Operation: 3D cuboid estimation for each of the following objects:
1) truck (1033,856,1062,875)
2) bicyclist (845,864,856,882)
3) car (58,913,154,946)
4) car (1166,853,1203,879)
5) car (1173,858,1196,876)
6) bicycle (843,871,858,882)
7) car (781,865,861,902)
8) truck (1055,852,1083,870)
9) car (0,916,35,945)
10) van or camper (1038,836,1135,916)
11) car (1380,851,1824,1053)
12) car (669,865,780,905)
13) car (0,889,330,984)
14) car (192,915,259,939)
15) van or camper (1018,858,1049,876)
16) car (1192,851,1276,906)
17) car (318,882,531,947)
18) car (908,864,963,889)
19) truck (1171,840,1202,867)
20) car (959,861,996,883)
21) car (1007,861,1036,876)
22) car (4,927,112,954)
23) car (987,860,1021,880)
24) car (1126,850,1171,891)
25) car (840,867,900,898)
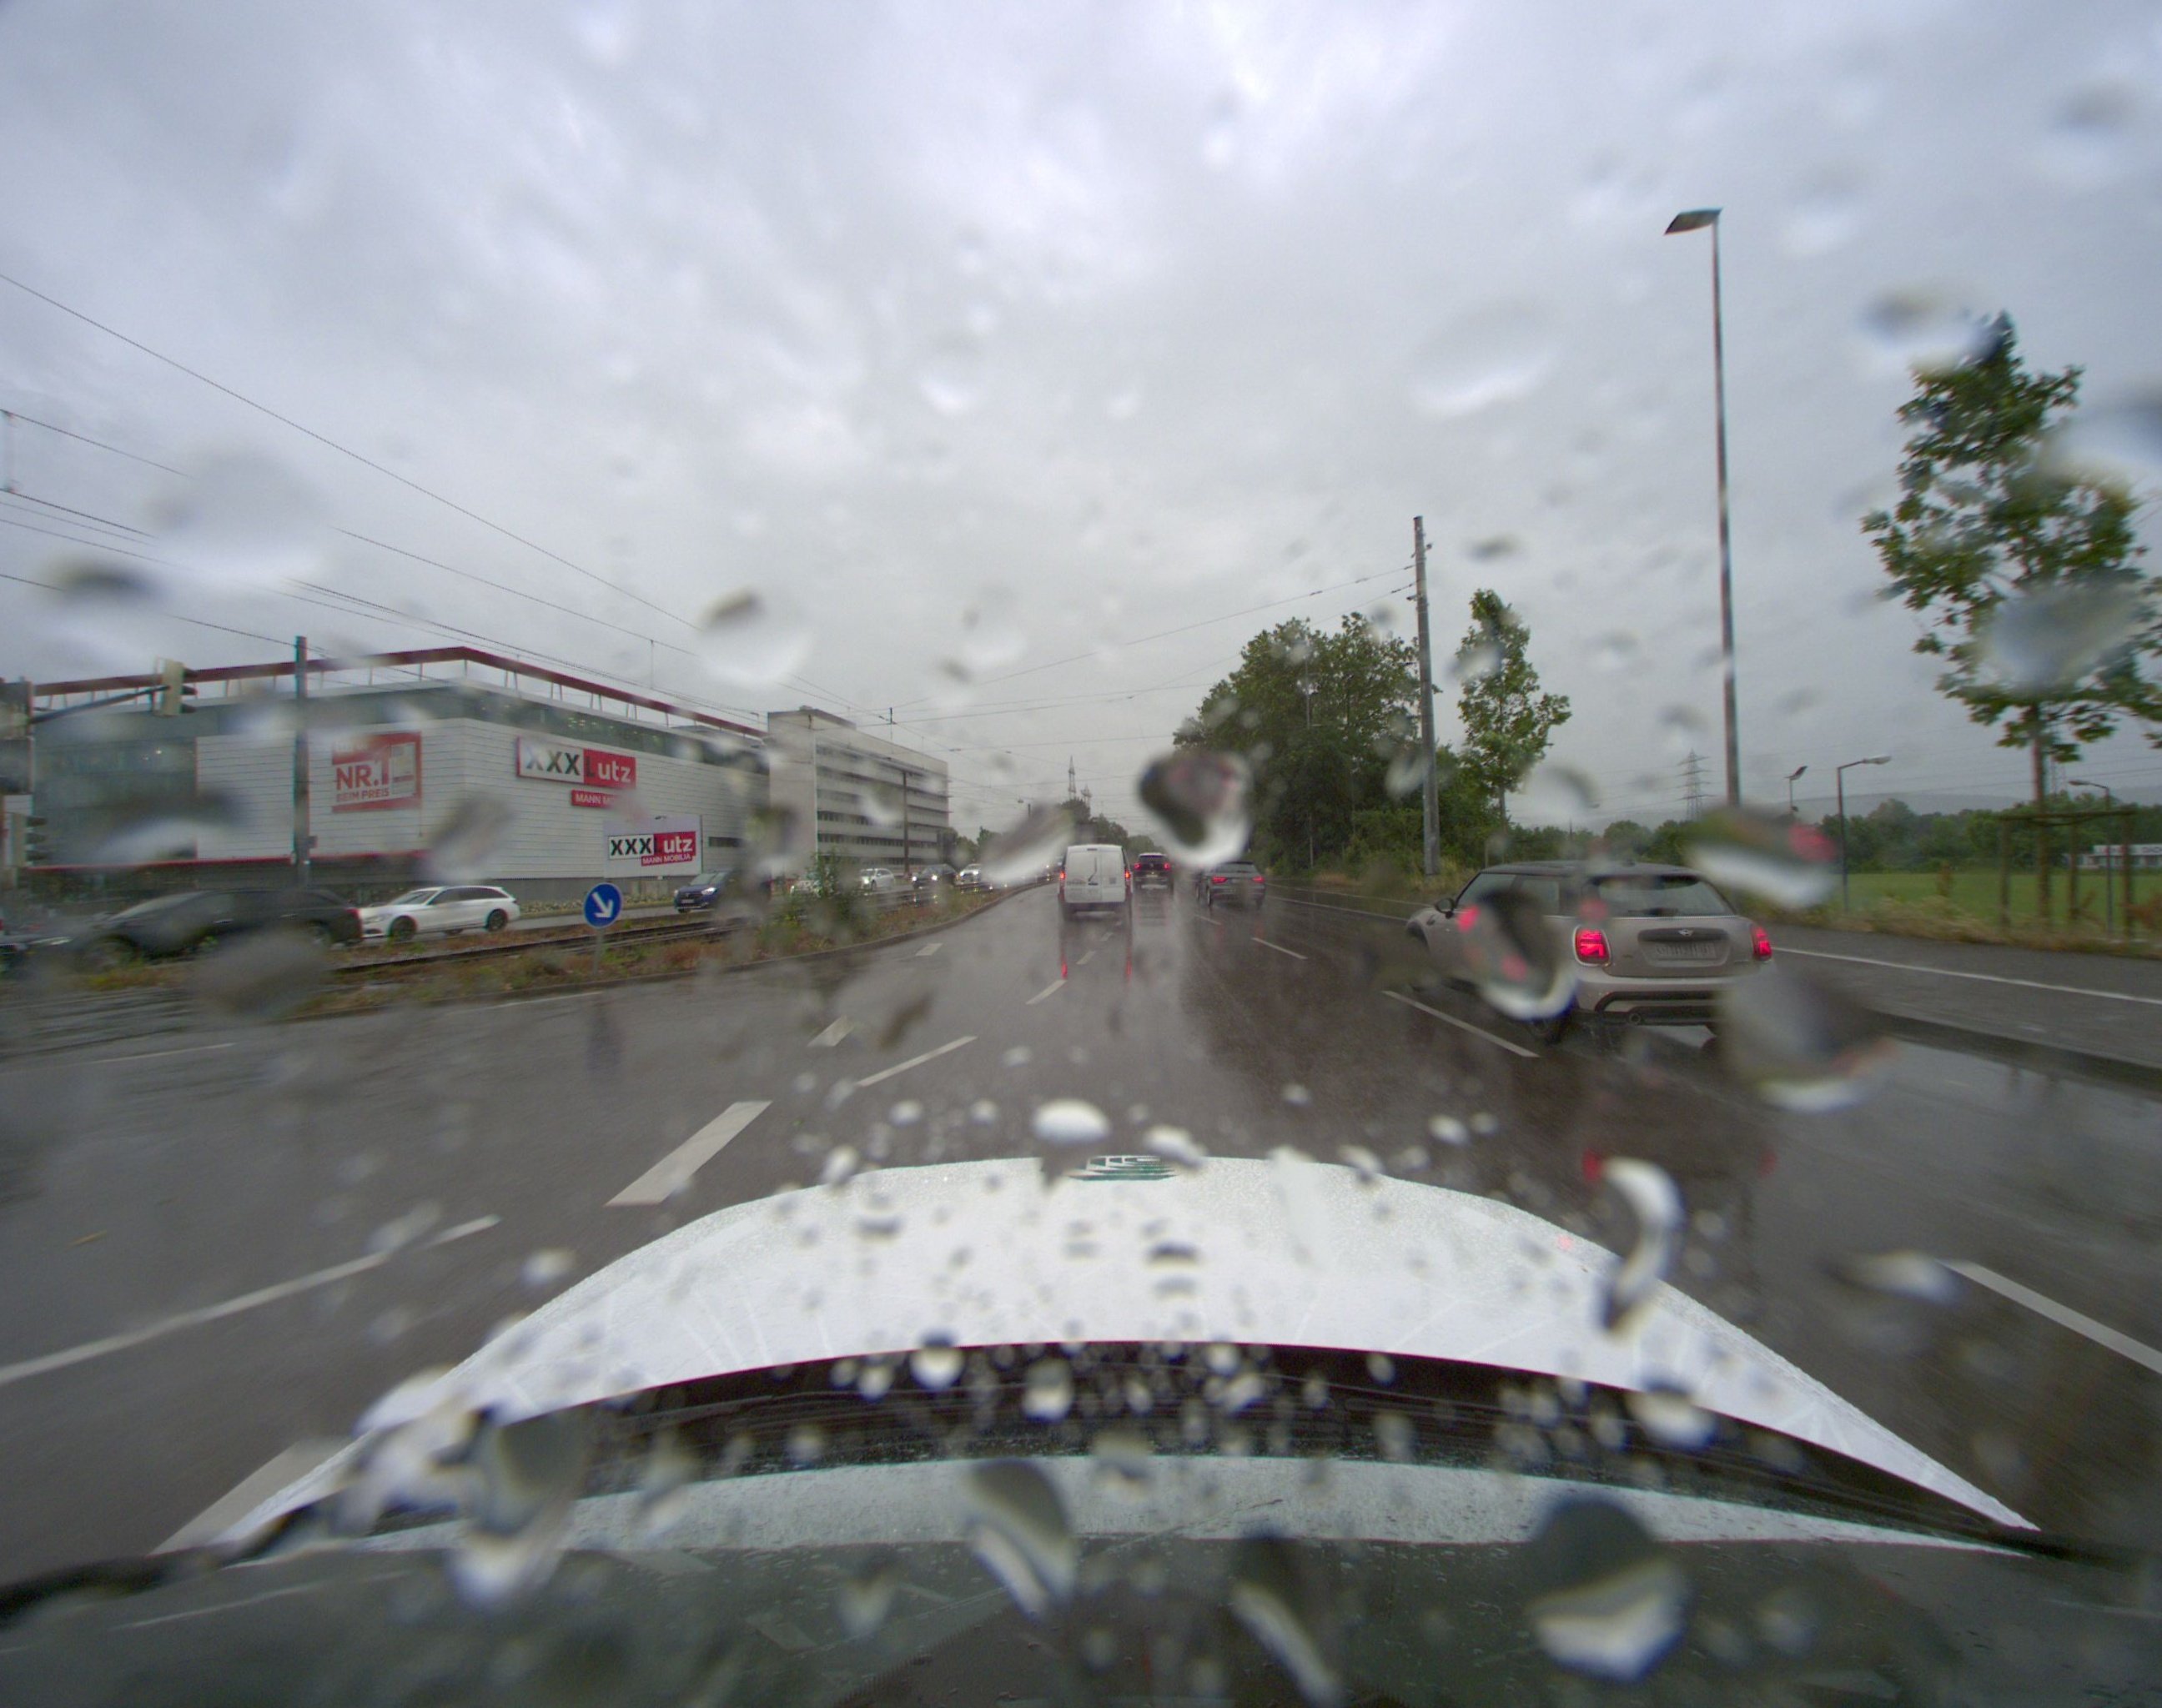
[{"bbox_3d":[-4.262,1.443,105.580,2.212,2.462,6.087,0,0,12],"label":"truck"},{"bbox_3d":[-21.041,1.754,74.397,0.667,1.589,0.794,0,0,9],"label":"bicyclist"},{"bbox_3d":[-70.766,5.429,59.181,1.983,2.013,4.007,0,0,6],"label":"car"},{"bbox_3d":[6.056,0.688,47.975,1.811,1.414,3.780,-1,0,2],"label":"car"},{"bbox_3d":[8.993,1.107,70.371,1.807,1.414,3.789,-1,0,9],"label":"car"},{"bbox_3d":[-21.051,2.043,74.368,0.664,1.016,1.560,0,0,9],"label":"bicycle"},{"bbox_3d":[-12.271,1.372,38.734,1.700,1.535,4.063,0,1,14],"label":"car"},{"bbox_3d":[-1.612,0.936,115.724,2.418,2.458,7.243,0,0,12],"label":"truck"},{"bbox_3d":[-83.331,5.897,62.001,1.983,2.013,4.007,0,0,6],"label":"car"},{"bbox_3d":[0.253,0.465,20.262,1.983,1.784,4.008,0,1,6],"label":"van or camper"},{"bbox_3d":[4.428,0.728,7.743,1.785,1.414,3.854,-1,-1,1],"label":"car"},{"bbox_3d":[-13.539,1.135,31.247,1.702,1.249,4.474,0,1,10],"label":"car"},{"bbox_3d":[-16.903,1.405,15.116,1.700,1.249,4.063,0,1,14],"label":"car"},{"bbox_3d":[-81.608,6.916,77.763,1.983,2.014,4.006,0,-1,6],"label":"car"},{"bbox_3d":[-5.617,1.480,96.186,2.290,2.013,5.703,0,0,11],"label":"van or camper"},{"bbox_3d":[4.645,0.684,25.217,1.960,1.528,3.993,-1,0,2],"label":"car"},{"bbox_3d":[-18.765,1.662,23.625,1.800,1.436,4.727,0,1,10],"label":"car"},{"bbox_3d":[-9.660,1.474,54.530,1.911,1.423,5.098,0,1,10],"label":"car"},{"bbox_3d":[11.387,-0.047,87.442,3.095,2.773,6.344,-1,0,9],"label":"truck"},{"bbox_3d":[-9.421,1.640,74.749,1.981,1.834,4.706,-2,-1,10],"label":"car"},{"bbox_3d":[-6.584,1.586,90.792,1.846,1.618,4.922,-3,-1,11],"label":"car"},{"bbox_3d":[-60.926,5.124,48.578,1.539,1.264,3.730,0,-1,6],"label":"car"},{"bbox_3d":[-6.669,1.397,71.025,1.861,1.573,4.341,0,1,10],"label":"car"},{"bbox_3d":[3.087,0.687,37.418,1.891,1.717,4.731,-1,0,4],"label":"car"},{"bbox_3d":[-13.625,1.799,52.808,1.982,1.901,4.803,-1,-1,9],"label":"car"}]
